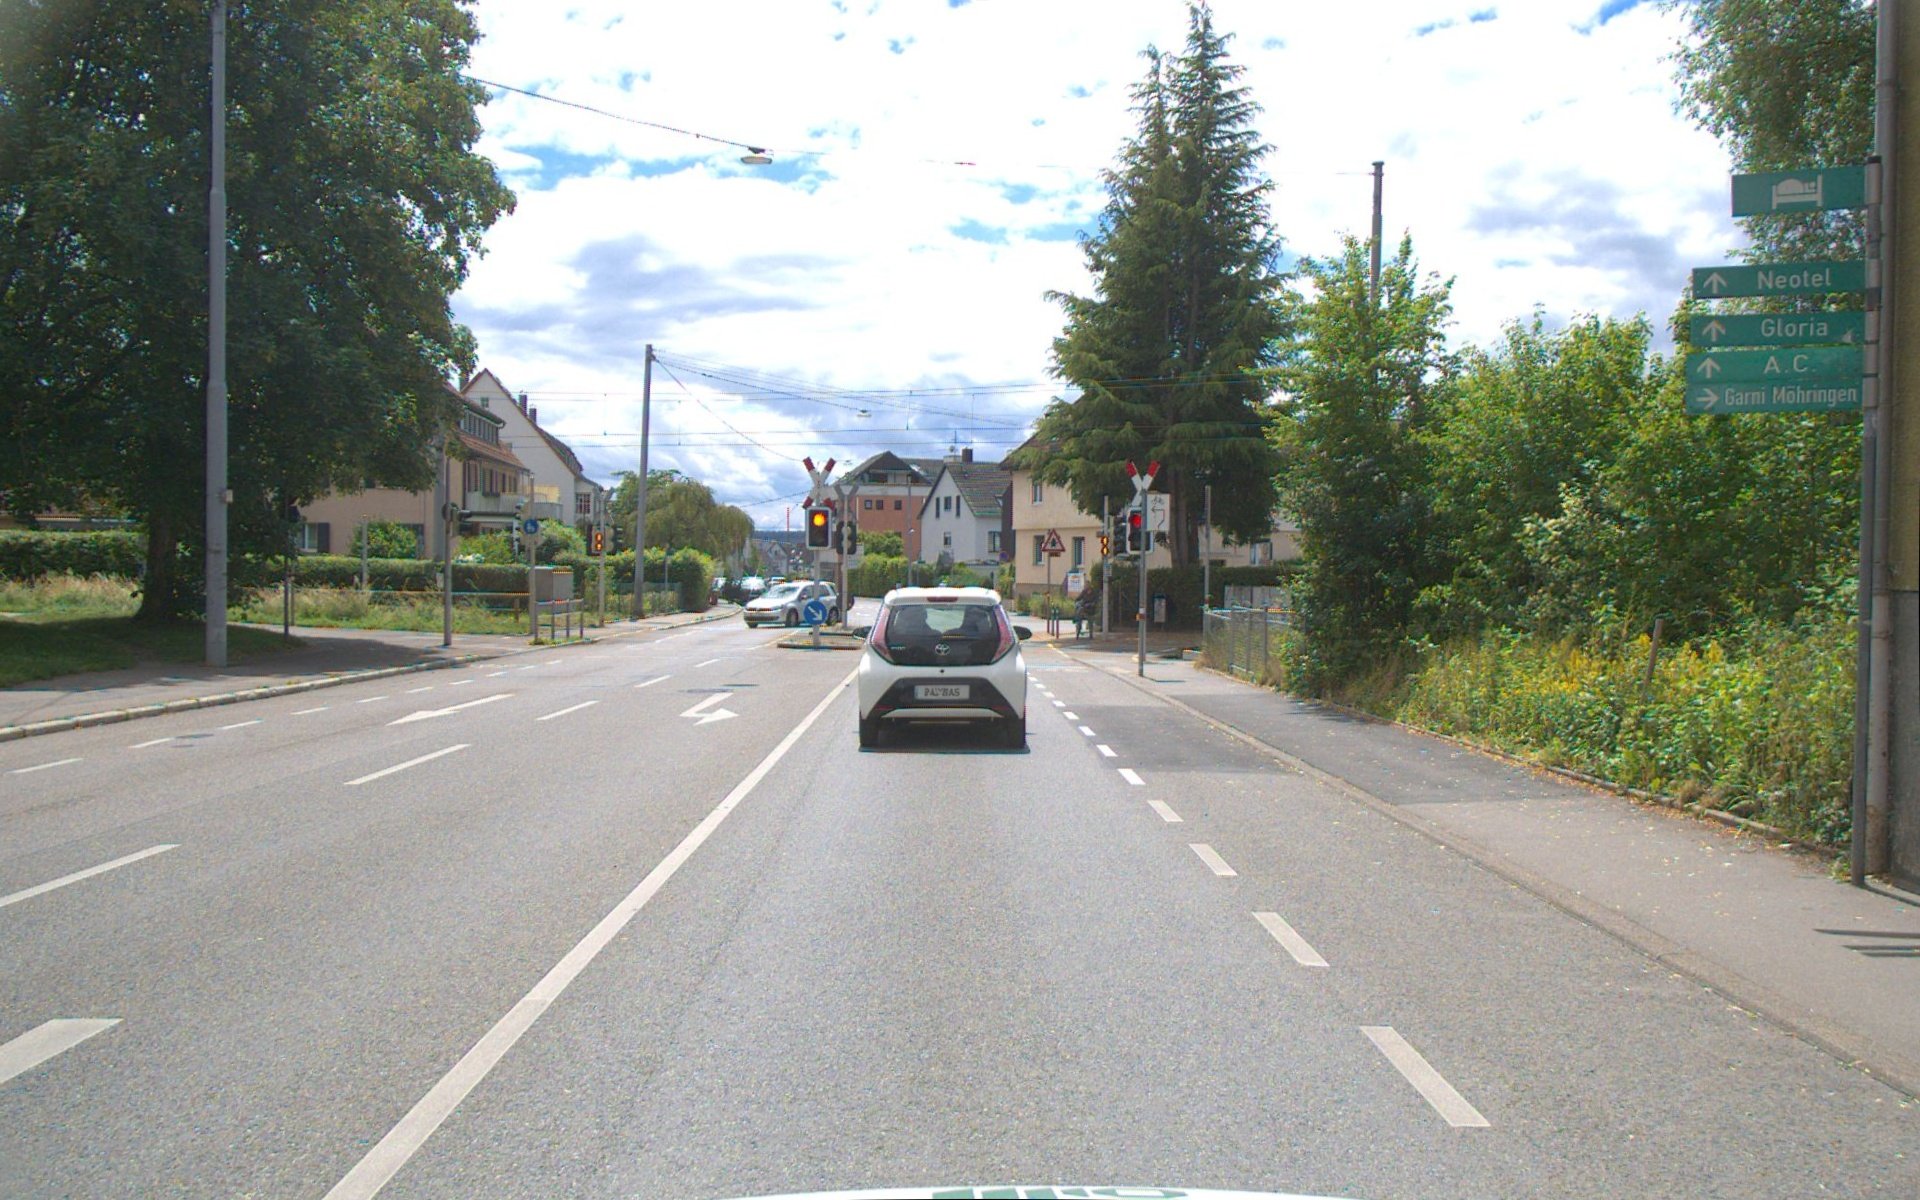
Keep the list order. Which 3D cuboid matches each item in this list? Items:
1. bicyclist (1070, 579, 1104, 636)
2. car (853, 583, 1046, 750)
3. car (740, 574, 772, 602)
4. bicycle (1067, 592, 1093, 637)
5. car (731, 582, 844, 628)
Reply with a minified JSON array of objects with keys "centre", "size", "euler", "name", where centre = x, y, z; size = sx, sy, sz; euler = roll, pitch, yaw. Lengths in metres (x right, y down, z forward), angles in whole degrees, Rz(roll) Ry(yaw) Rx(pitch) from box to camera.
[{"centre":[3.687,0.216,48.136],"size":[0.825,1.580,0.755],"euler":[-2,3,-7],"name":"bicyclist"},{"centre":[-0.211,0.590,16.747],"size":[1.687,1.467,3.705],"euler":[1,0,-4],"name":"car"},{"centre":[-13.183,-0.788,107.084],"size":[1.955,1.749,3.994],"euler":[1,0,-7],"name":"car"},{"centre":[3.498,0.419,48.182],"size":[0.448,1.192,1.477],"euler":[-2,3,-6],"name":"bicycle"},{"centre":[-5.819,0.169,56.135],"size":[1.868,1.466,4.093],"euler":[2,0,27],"name":"car"}]
